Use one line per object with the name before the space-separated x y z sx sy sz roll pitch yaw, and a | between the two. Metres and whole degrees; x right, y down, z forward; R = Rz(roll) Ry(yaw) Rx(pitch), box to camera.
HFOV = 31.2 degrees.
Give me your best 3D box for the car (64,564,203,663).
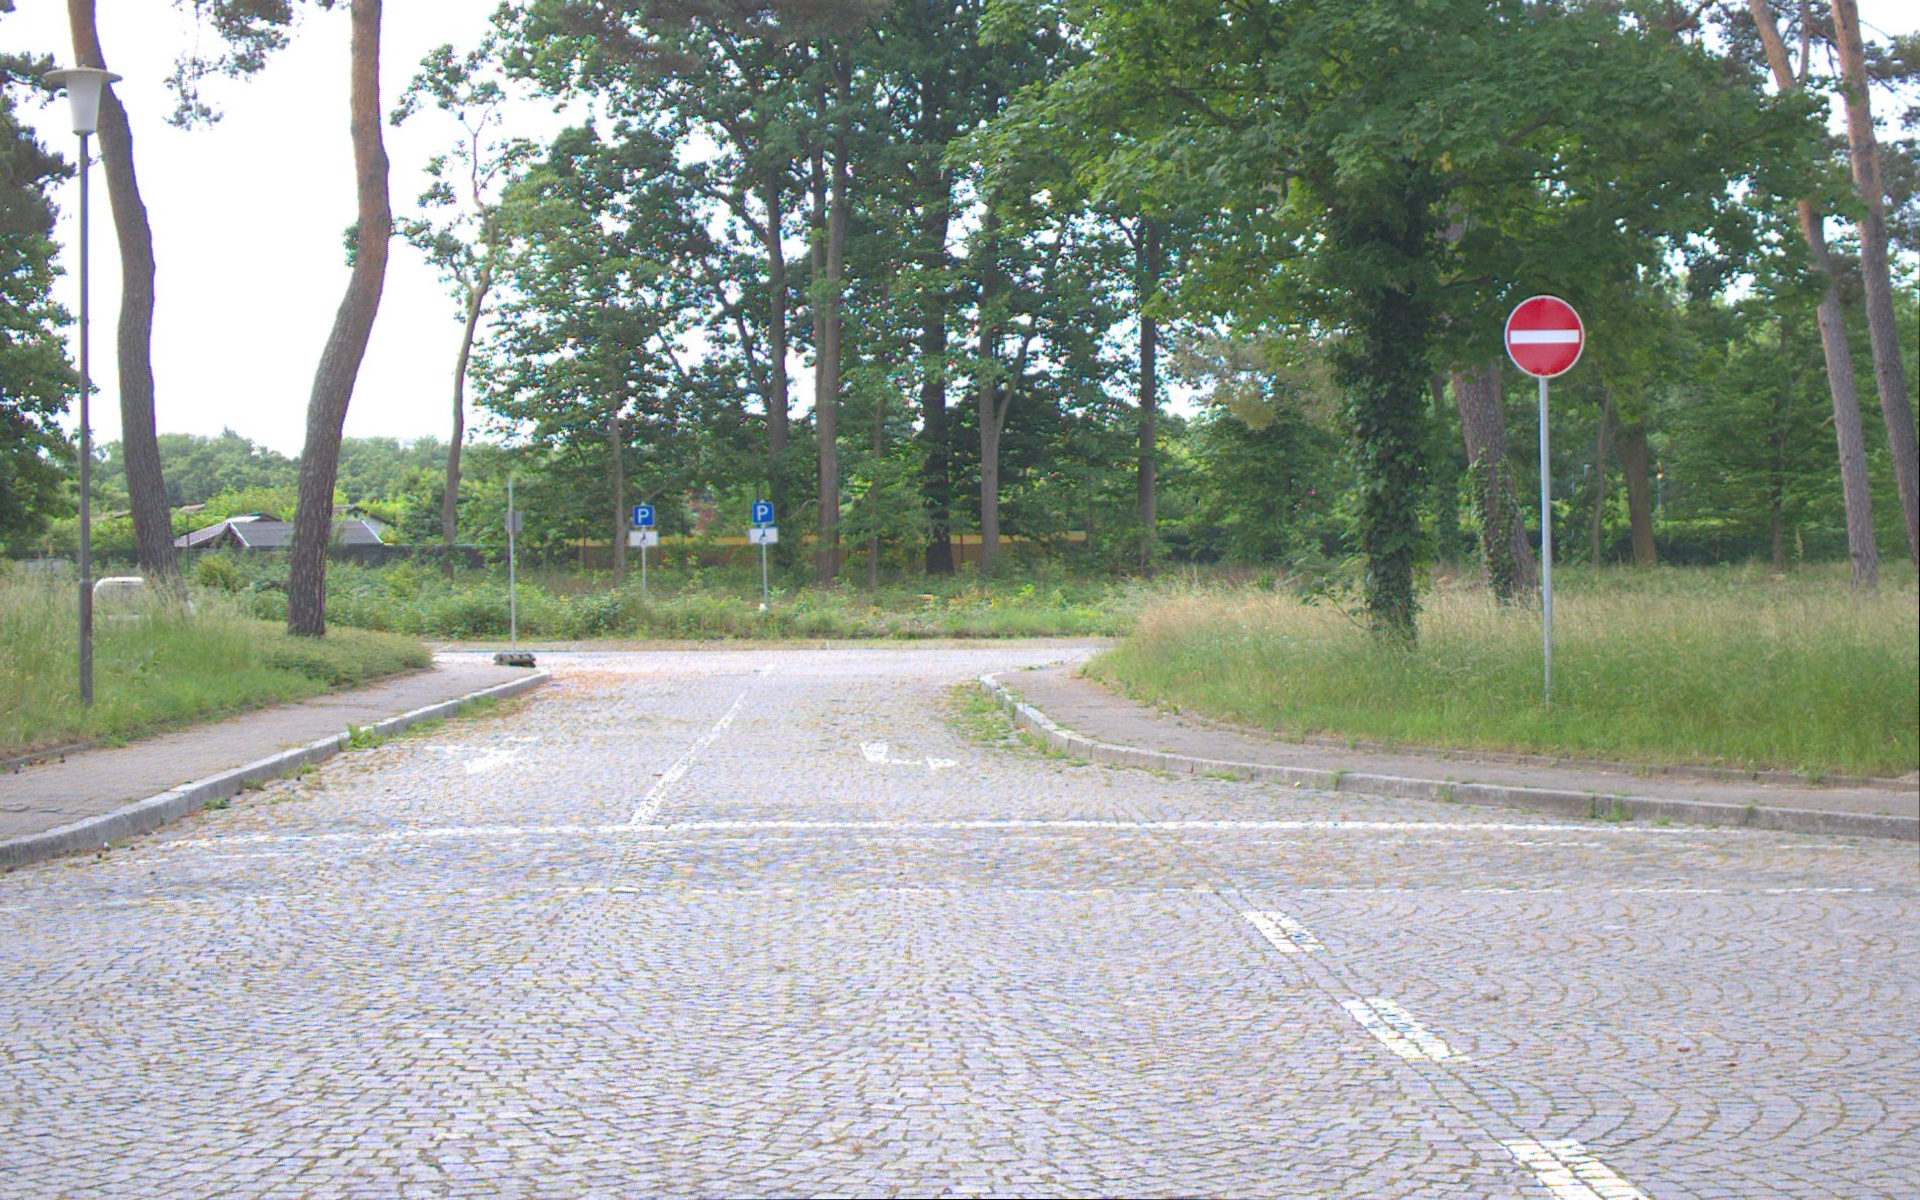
car | -16.124 0.235 67.258 1.993 1.840 4.001 1 1 -4
